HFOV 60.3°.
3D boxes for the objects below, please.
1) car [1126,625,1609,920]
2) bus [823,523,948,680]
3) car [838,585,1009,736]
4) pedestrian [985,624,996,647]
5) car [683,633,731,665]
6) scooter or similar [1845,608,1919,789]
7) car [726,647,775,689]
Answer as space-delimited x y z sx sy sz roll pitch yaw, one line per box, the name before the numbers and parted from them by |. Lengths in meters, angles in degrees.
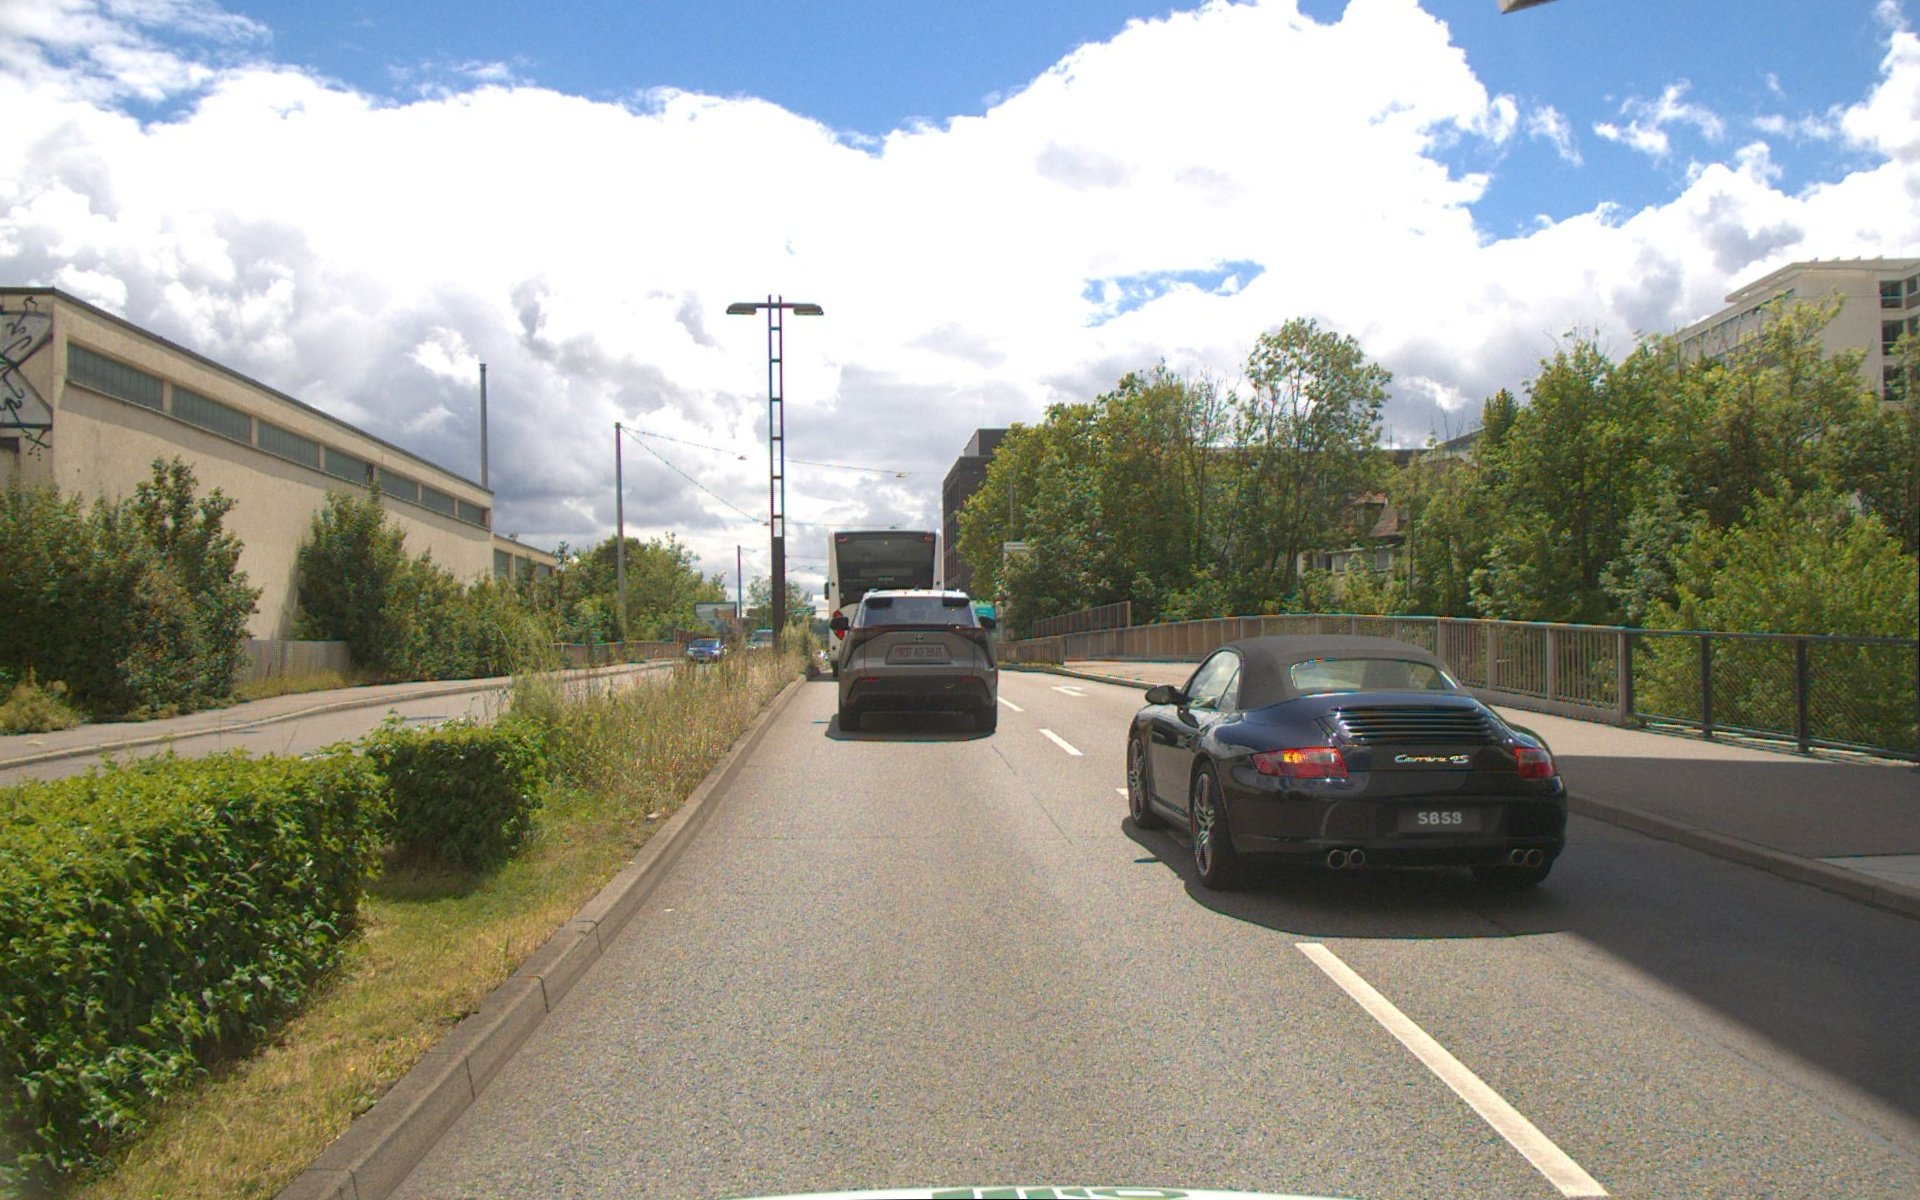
car | 2.092 0.823 9.676 1.685 1.297 4.086 0 0 -2
bus | -1.848 -0.064 41.321 2.635 3.312 12.052 1 1 -3
car | -0.468 0.669 20.060 1.842 1.622 4.227 0 0 -2
pedestrian | 2.370 2.712 127.236 0.666 1.726 0.598 -2 -3 22
car | -11.557 2.232 75.734 1.720 1.298 3.997 -3 -1 -3
scooter or similar | 6.936 0.679 11.325 0.640 1.235 1.856 -2 0 -4
car | -9.335 3.010 74.082 1.841 1.655 4.440 -2 0 -4
